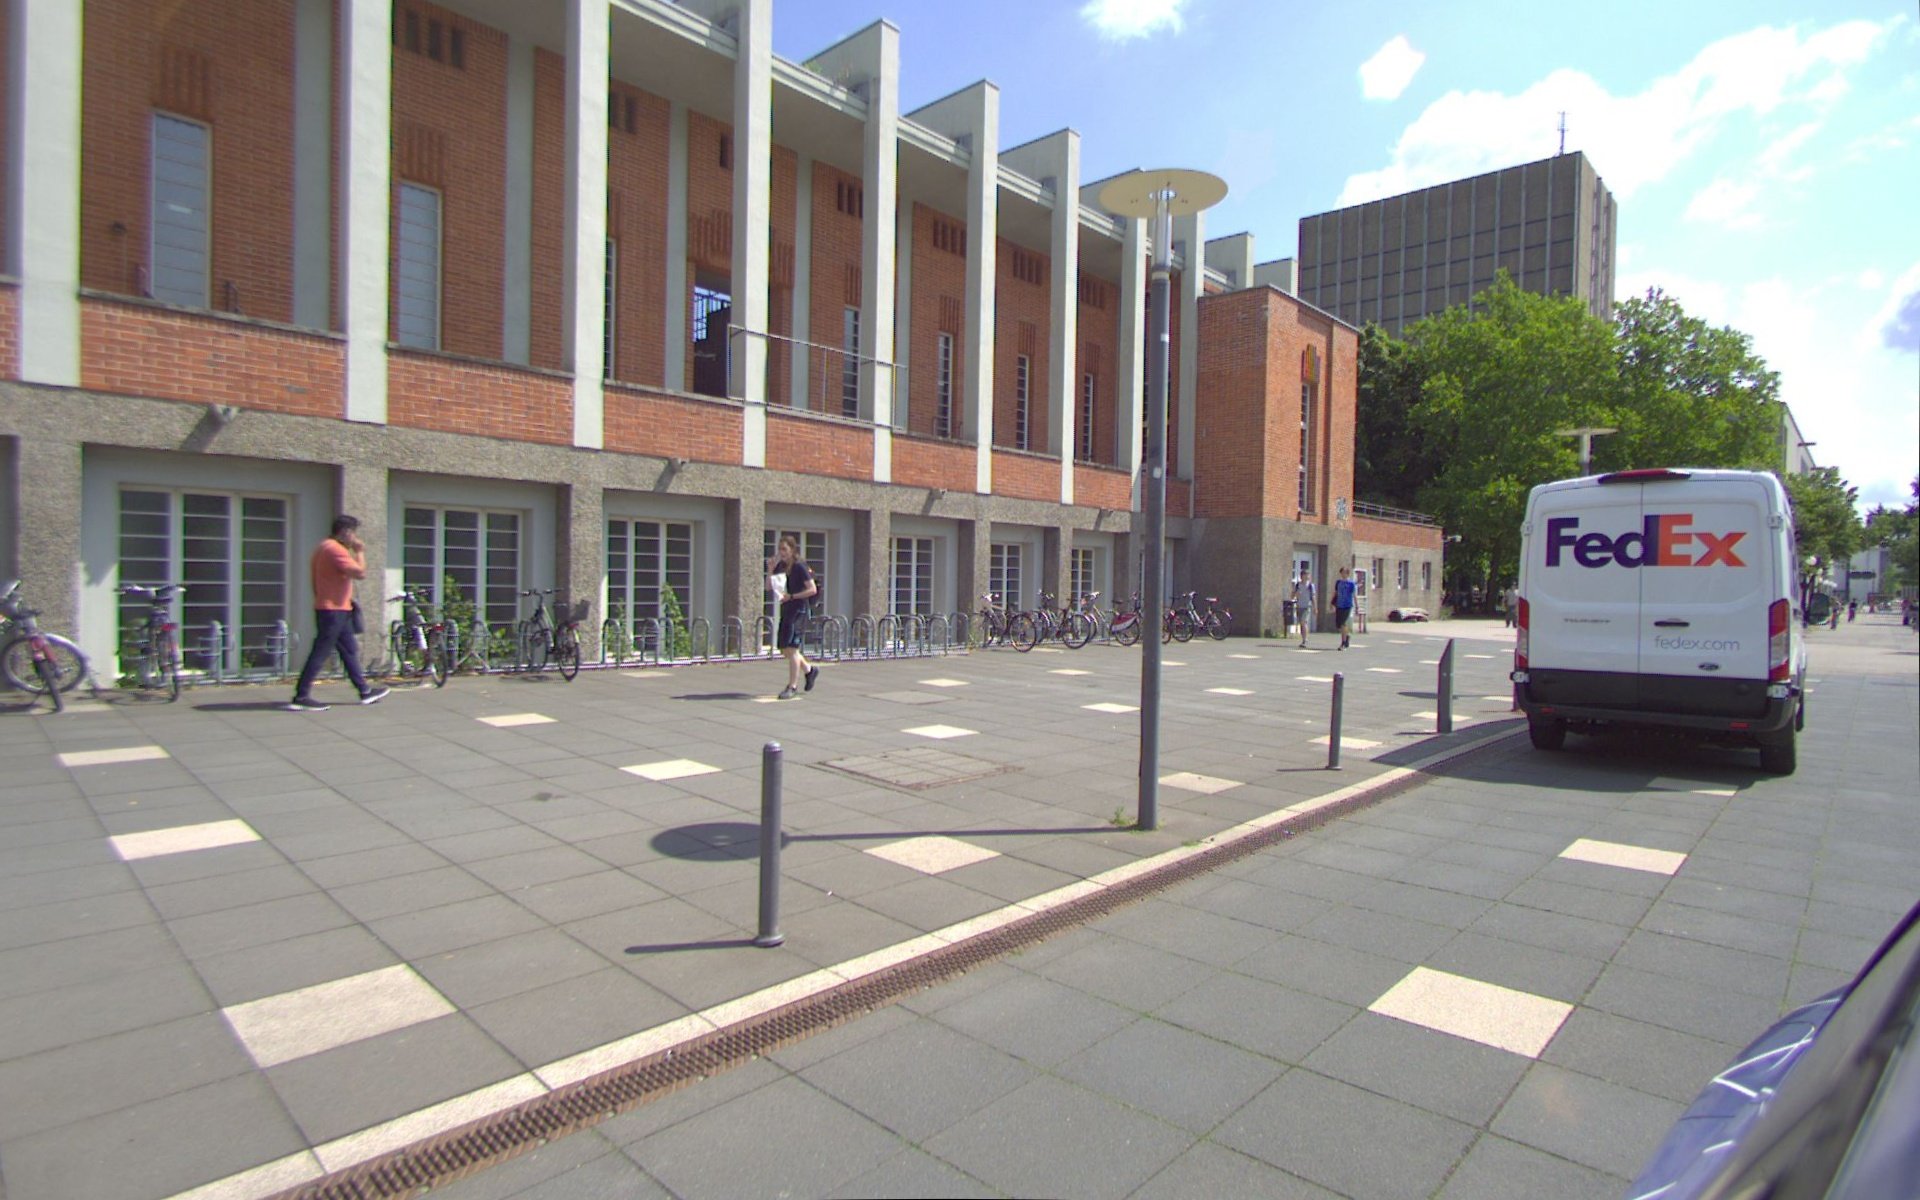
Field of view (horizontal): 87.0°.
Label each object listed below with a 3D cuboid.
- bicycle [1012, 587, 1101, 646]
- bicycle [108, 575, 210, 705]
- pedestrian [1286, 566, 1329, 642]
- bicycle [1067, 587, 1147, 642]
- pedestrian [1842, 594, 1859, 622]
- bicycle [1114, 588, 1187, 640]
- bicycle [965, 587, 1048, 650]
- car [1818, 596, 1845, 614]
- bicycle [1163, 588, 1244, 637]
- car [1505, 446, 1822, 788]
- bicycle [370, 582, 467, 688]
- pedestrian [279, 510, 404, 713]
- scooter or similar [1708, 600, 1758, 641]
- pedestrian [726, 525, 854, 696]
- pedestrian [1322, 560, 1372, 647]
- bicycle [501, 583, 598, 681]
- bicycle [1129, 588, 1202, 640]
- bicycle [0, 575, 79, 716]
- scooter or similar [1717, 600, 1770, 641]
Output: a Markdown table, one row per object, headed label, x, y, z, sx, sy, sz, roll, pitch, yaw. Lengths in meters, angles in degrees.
| label | x | y | z | sx | sy | sz | roll | pitch | yaw |
| --- | --- | --- | --- | --- | --- | --- | --- | --- | --- |
| bicycle | 1.955 | 0.314 | 20.739 | 1.910 | 1.124 | 0.429 | 2 | 1 | 42 |
| bicycle | -7.973 | 0.352 | 10.042 | 1.752 | 1.164 | 0.510 | 2 | 1 | 42 |
| pedestrian | 8.076 | 0.073 | 23.485 | 0.584 | 1.728 | 0.987 | 2 | 2 | 41 |
| bicycle | 3.182 | 0.296 | 22.034 | 1.796 | 1.124 | 0.429 | 2 | 1 | 42 |
| pedestrian | 46.168 | 0.406 | 52.466 | 0.584 | 1.460 | 0.628 | 2 | 1 | 44 |
| bicycle | 4.334 | 0.298 | 23.149 | 1.650 | 1.124 | 0.429 | 2 | 1 | 42 |
| bicycle | 0.877 | 0.330 | 19.488 | 1.682 | 1.124 | 0.429 | 2 | 1 | 42 |
| car | 88.056 | 0.480 | 102.225 | 1.992 | 1.678 | 3.941 | 2 | 1 | 41 |
| bicycle | 5.989 | 0.292 | 24.976 | 1.929 | 1.124 | 0.449 | 2 | 1 | 42 |
| car | 7.528 | 0.091 | 10.500 | 2.057 | 2.575 | 5.763 | 2 | 1 | 41 |
| bicycle | -6.341 | 0.372 | 11.807 | 1.746 | 1.124 | 0.429 | 2 | 1 | 42 |
| pedestrian | -5.989 | 0.098 | 9.804 | 0.663 | 1.857 | 0.892 | 2 | 1 | 44 |
| scooter or similar | 24.920 | 0.649 | 32.627 | 0.564 | 1.259 | 1.146 | 2 | 1 | -12 |
| pedestrian | -1.955 | 0.104 | 11.713 | 0.842 | 1.857 | 1.181 | 1 | 1 | 38 |
| pedestrian | 8.778 | 0.054 | 22.954 | 0.664 | 1.913 | 1.093 | 3 | 2 | 43 |
| bicycle | -5.189 | 0.370 | 12.748 | 1.682 | 1.124 | 0.429 | 2 | 1 | 42 |
| bicycle | 4.789 | 0.310 | 23.662 | 1.693 | 1.124 | 0.429 | 2 | 1 | 42 |
| bicycle | -8.517 | 0.371 | 9.300 | 1.752 | 1.164 | 0.429 | 2 | 1 | 42 |
| scooter or similar | 25.565 | 0.655 | 33.035 | 0.564 | 1.248 | 1.267 | 2 | 1 | -12 |
